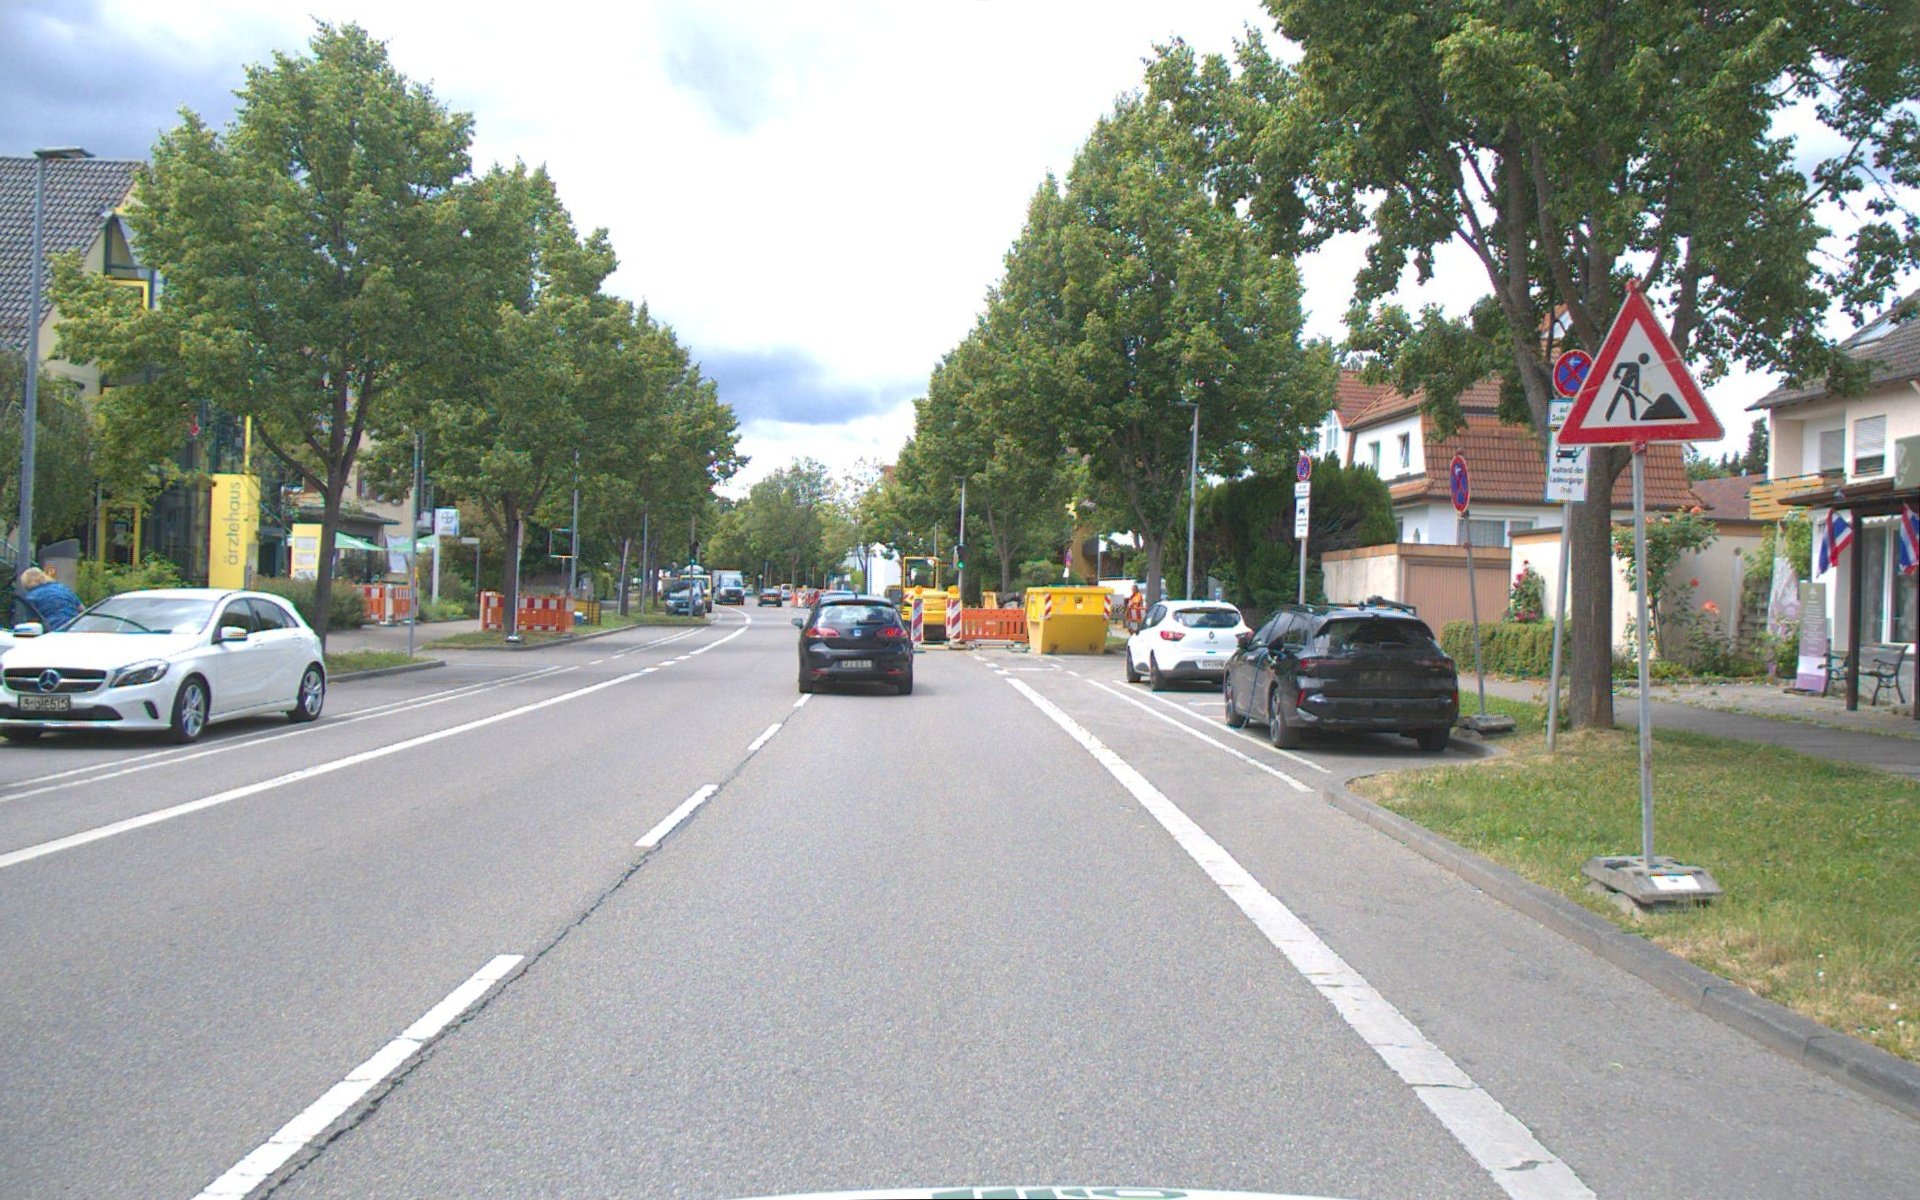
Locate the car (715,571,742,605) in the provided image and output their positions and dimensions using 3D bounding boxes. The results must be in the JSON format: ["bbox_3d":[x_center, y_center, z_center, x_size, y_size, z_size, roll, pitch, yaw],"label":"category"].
[{"bbox_3d":[-19.722,-1.037,141.099,2.244,2.840,7.131,0,0,-8],"label":"car"}]

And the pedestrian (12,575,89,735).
[{"bbox_3d":[-9.136,0.537,16.607,0.577,1.555,0.690,1,0,-36],"label":"pedestrian"}]

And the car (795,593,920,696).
[{"bbox_3d":[-1.548,0.634,25.673,1.782,1.463,3.738,0,0,-2],"label":"car"}]

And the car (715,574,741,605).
[{"bbox_3d":[-18.910,-0.865,134.963,1.990,2.426,5.253,0,0,-8],"label":"car"}]

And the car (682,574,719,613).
[{"bbox_3d":[-15.449,-0.409,98.551,2.053,2.213,5.035,1,0,-8],"label":"car"}]

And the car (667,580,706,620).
[{"bbox_3d":[-12.663,-0.031,76.822,1.636,1.803,4.460,0,0,-8],"label":"car"}]

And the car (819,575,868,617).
[{"bbox_3d":[-4.879,-0.191,69.664,1.867,1.715,3.739,0,0,-1],"label":"car"}]

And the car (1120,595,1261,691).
[{"bbox_3d":[3.815,0.669,27.962,1.639,1.488,3.998,1,0,-3],"label":"car"}]

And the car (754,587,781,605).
[{"bbox_3d":[-15.107,-0.323,129.930,1.778,1.399,3.682,1,0,-12],"label":"car"}]

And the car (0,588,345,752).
[{"bbox_3d":[-7.929,0.605,16.745,1.678,1.431,4.301,1,0,1],"label":"car"}]

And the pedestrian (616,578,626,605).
[{"bbox_3d":[-22.805,-0.584,111.202,0.584,1.772,0.573,1,0,-9],"label":"pedestrian"}]

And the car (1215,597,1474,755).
[{"bbox_3d":[4.028,0.722,18.099,1.671,1.480,4.615,1,0,-1],"label":"car"}]

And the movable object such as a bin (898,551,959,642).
[{"bbox_3d":[-0.983,-0.112,49.927,1.733,2.619,3.738,1,0,-2],"label":"movable object such as a bin"}]

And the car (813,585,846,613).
[{"bbox_3d":[-7.898,-0.046,99.942,1.757,1.651,3.733,0,0,-8],"label":"car"}]

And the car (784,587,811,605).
[{"bbox_3d":[-12.874,-0.322,131.192,1.778,1.440,3.683,1,0,-11],"label":"car"}]

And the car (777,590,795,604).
[{"bbox_3d":[-18.116,-0.331,172.516,1.775,1.440,3.689,1,0,-6],"label":"car"}]

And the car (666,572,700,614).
[{"bbox_3d":[-18.193,-0.462,108.873,2.053,2.672,5.035,1,0,-8],"label":"car"}]

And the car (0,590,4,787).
[{"bbox_3d":[-7.807,0.655,10.139,1.609,1.445,4.019,0,0,-1],"label":"car"}]
